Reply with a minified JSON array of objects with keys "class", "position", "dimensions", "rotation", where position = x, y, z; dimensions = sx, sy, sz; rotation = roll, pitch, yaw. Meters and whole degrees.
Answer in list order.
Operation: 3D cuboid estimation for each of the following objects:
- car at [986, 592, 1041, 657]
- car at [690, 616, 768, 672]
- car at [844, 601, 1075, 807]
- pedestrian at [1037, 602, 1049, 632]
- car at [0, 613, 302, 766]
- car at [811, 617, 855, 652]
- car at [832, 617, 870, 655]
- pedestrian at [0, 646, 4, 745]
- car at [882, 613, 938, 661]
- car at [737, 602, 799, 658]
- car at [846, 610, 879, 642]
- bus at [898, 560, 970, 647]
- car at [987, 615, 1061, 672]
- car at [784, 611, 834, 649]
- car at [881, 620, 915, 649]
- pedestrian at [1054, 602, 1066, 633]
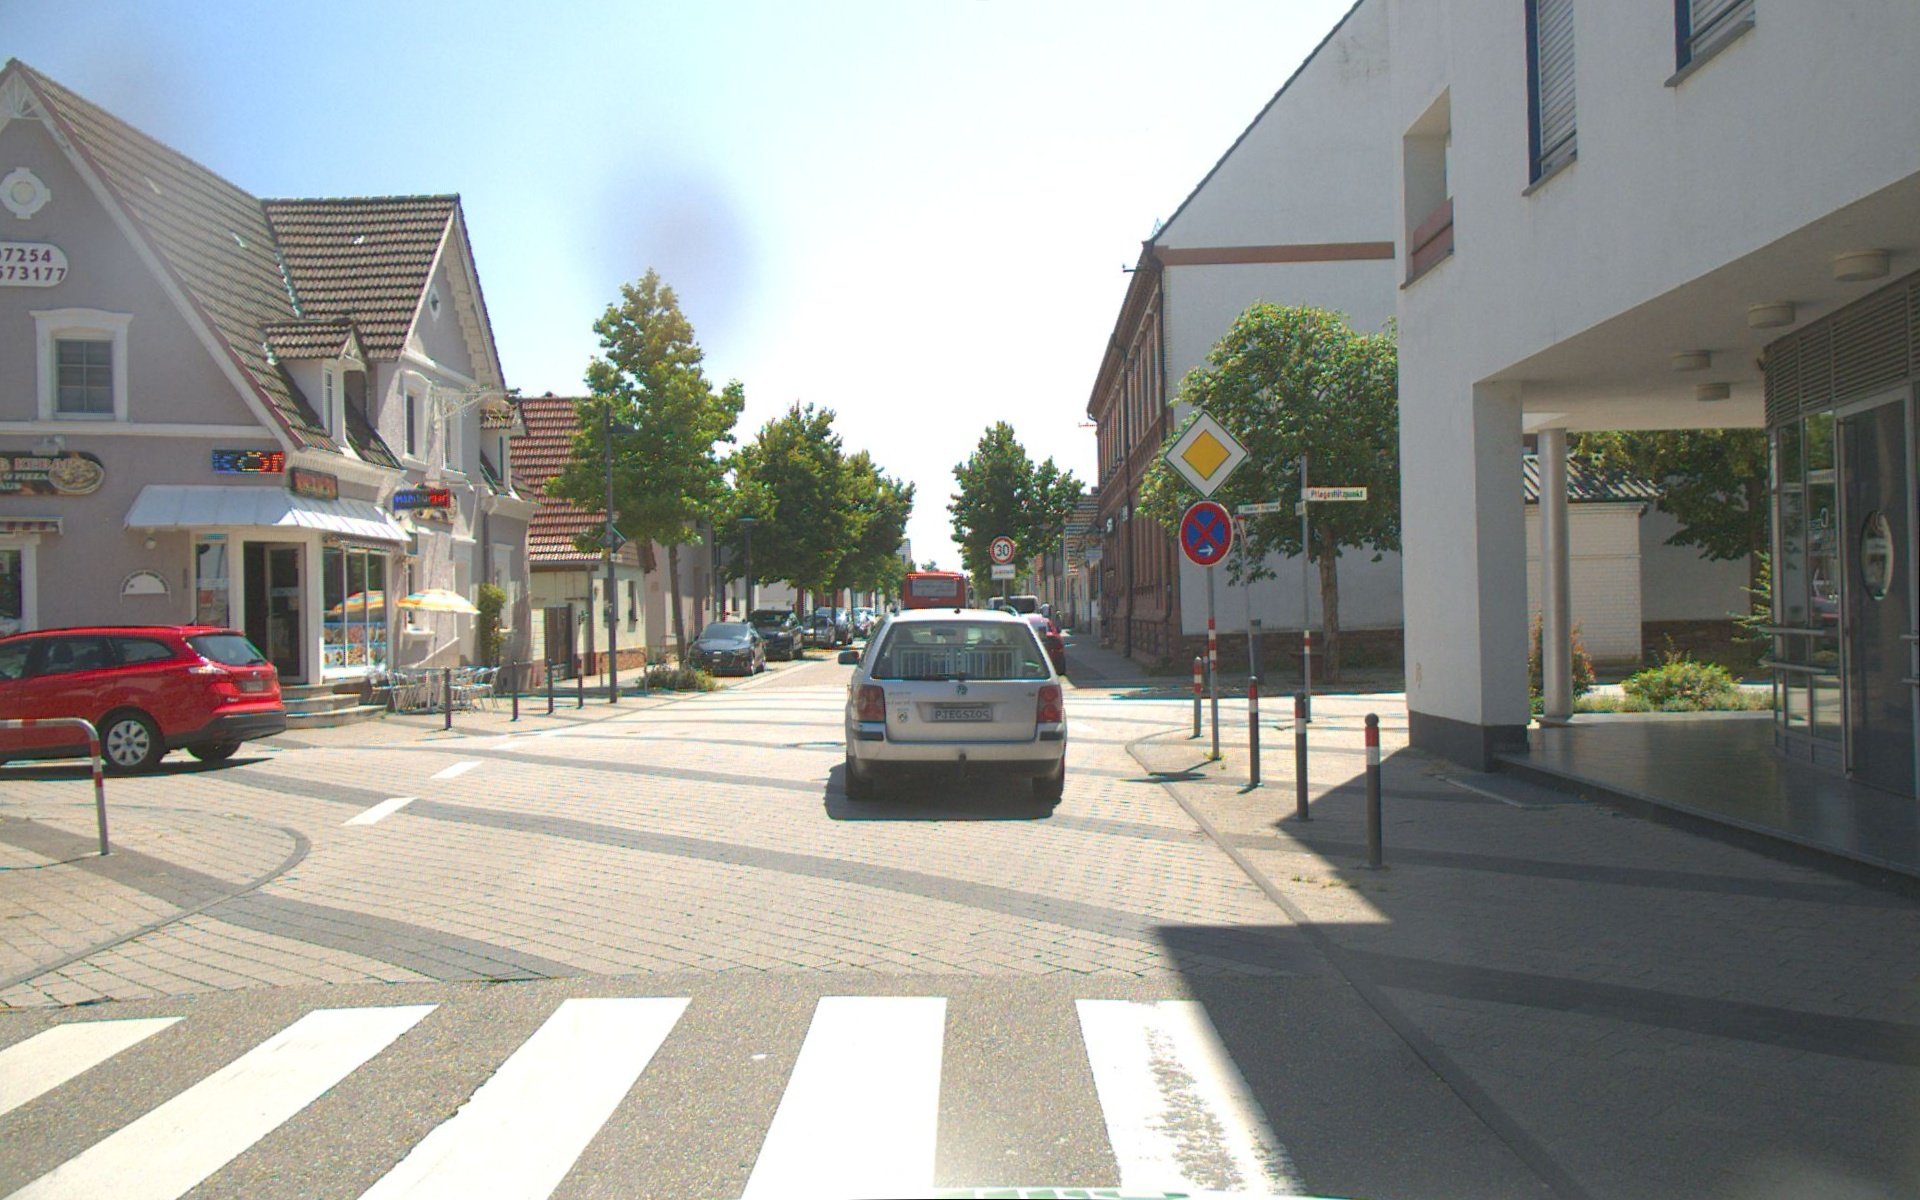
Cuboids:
[{"class":"car","position":[1.809,0.844,56.892],"dimensions":[1.751,2.118,3.625],"rotation":[-1,-1,0]},{"class":"car","position":[-6.432,1.211,46.379],"dimensions":[1.572,1.463,4.064],"rotation":[-1,-1,0]},{"class":"car","position":[0.005,0.759,13.595],"dimensions":[1.642,1.455,3.679],"rotation":[0,-1,0]},{"class":"pedestrian","position":[4.713,0.982,93.817],"dimensions":[0.594,1.696,0.789],"rotation":[-1,-1,-1]},{"class":"car","position":[-9.035,0.914,17.307],"dimensions":[3.591,1.455,1.683],"rotation":[-2,0,3]},{"class":"car","position":[-6.068,1.649,79.434],"dimensions":[1.774,1.586,4.000],"rotation":[-1,-1,0]},{"class":"car","position":[-5.978,1.957,91.116],"dimensions":[1.774,2.030,4.000],"rotation":[-1,-1,0]},{"class":"pedestrian","position":[-13.156,1.259,21.950],"dimensions":[0.631,1.312,0.777],"rotation":[2,-1,-43]},{"class":"car","position":[-1.526,1.138,51.767],"dimensions":[1.561,1.455,3.680],"rotation":[0,-1,1]},{"class":"car","position":[-6.711,1.037,58.119],"dimensions":[1.728,1.870,3.788],"rotation":[-1,-1,0]},{"class":"car","position":[-5.839,1.565,98.968],"dimensions":[1.685,1.833,4.000],"rotation":[-1,-1,0]},{"class":"bus","position":[-0.978,0.228,71.065],"dimensions":[2.683,3.356,12.705],"rotation":[-1,-1,1]},{"class":"car","position":[1.566,1.060,41.683],"dimensions":[1.684,1.332,3.625],"rotation":[-1,-1,0]},{"class":"car","position":[-6.601,1.293,72.704],"dimensions":[1.774,1.586,4.000],"rotation":[-1,-1,0]},{"class":"car","position":[-3.529,1.940,94.422],"dimensions":[1.774,1.586,4.000],"rotation":[-1,-1,0]},{"class":"pedestrian","position":[5.656,0.992,93.456],"dimensions":[0.594,1.696,0.789],"rotation":[-1,-1,-1]}]
